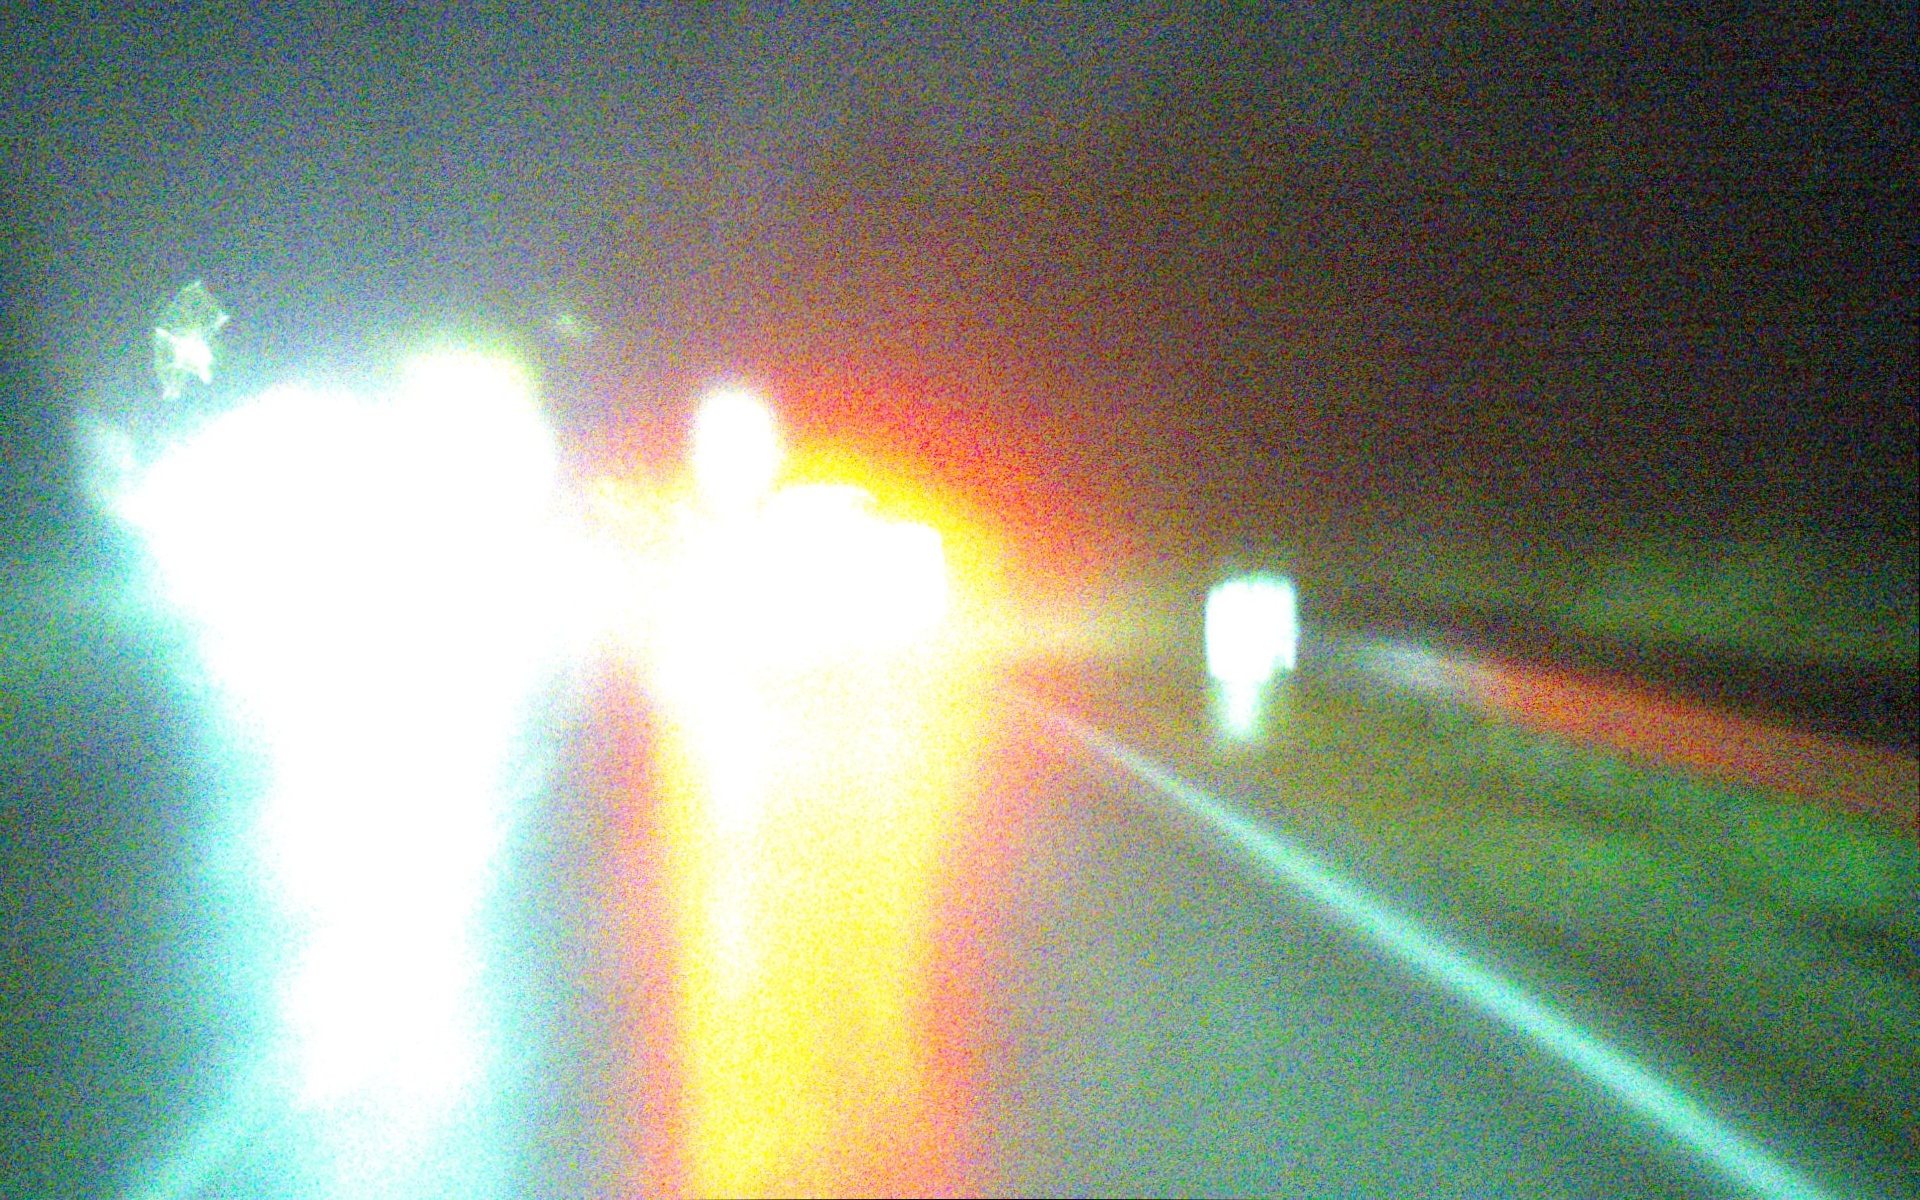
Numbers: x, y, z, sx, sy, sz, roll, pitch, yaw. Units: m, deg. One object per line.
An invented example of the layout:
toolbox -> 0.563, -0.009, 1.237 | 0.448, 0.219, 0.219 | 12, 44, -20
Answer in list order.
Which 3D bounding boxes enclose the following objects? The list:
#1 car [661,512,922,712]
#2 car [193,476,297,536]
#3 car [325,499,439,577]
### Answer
car -> -1.637, 0.041, 31.579 | 1.993, 1.622, 4.986 | 0, 2, -7
car -> -21.640, -2.836, 103.874 | 1.993, 1.702, 4.986 | -3, 2, -24
car -> -12.519, -1.357, 74.267 | 1.930, 1.579, 4.986 | -2, 2, -15
